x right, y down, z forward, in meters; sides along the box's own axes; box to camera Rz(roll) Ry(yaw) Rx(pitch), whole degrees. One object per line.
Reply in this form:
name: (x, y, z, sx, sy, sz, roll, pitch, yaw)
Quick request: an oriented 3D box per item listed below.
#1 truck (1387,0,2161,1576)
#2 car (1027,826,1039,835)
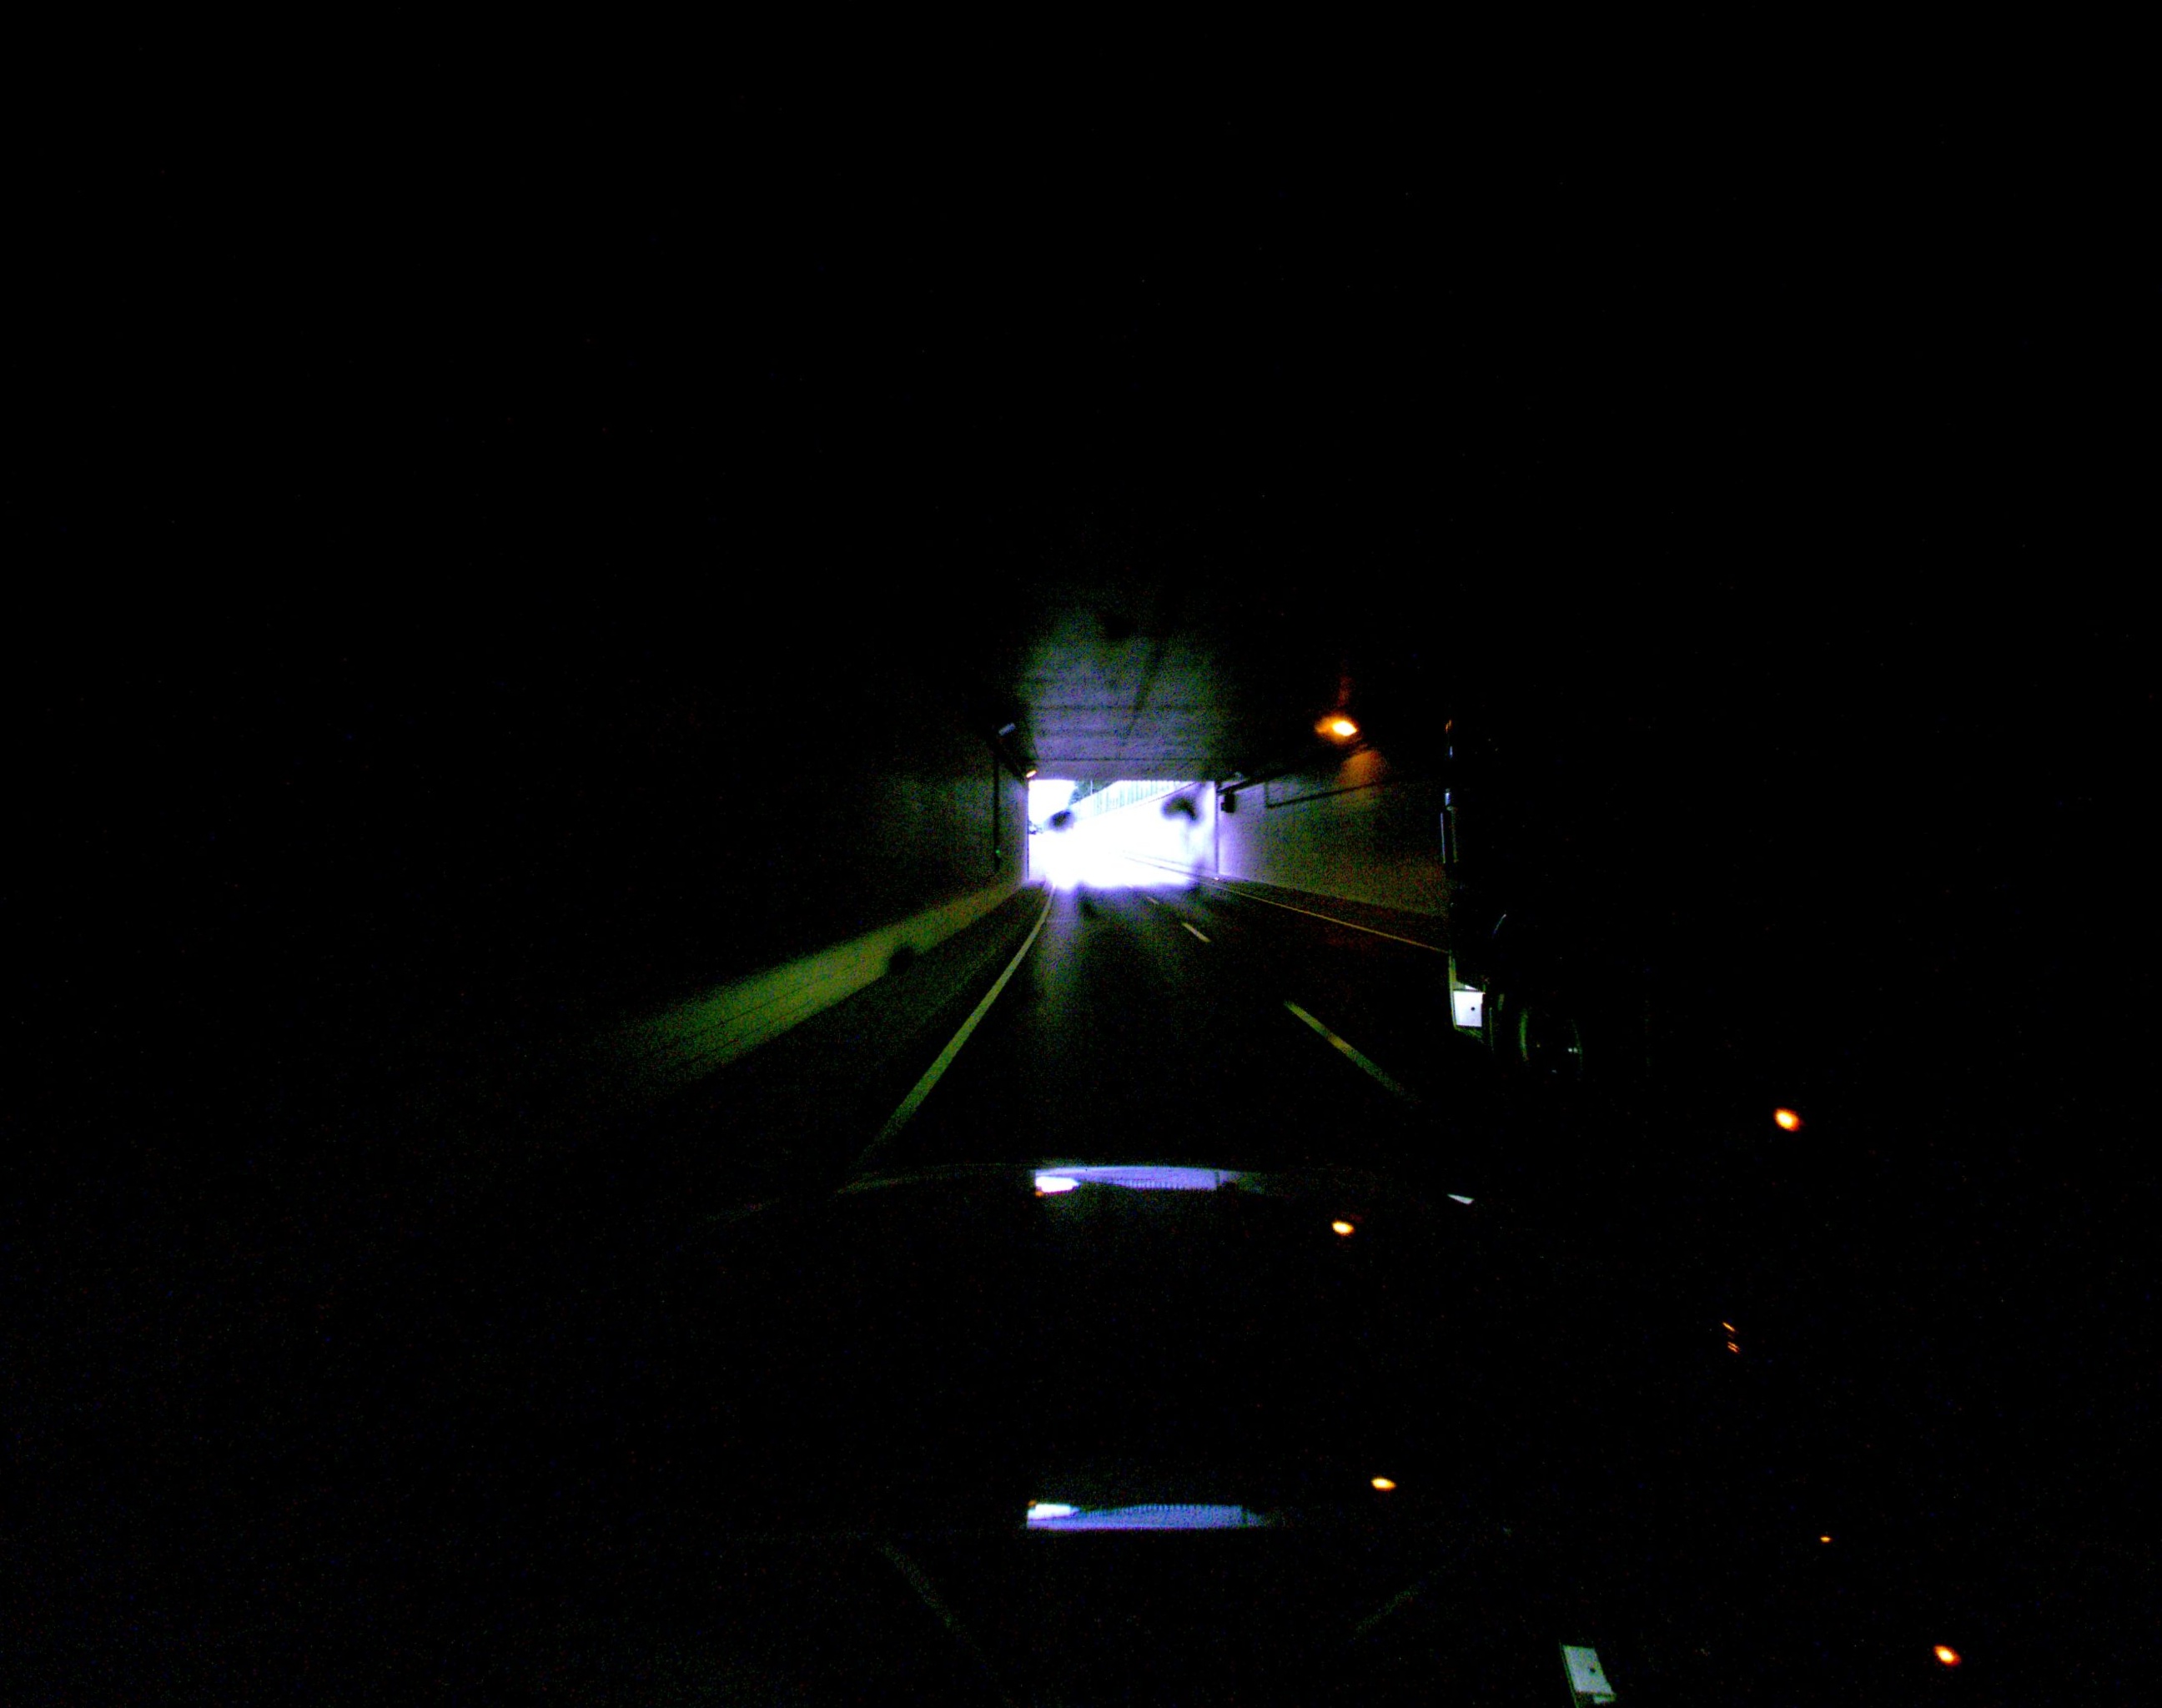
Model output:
truck: (3.541, -0.544, 0.755, 2.879, 3.913, 9.909, 0, 0, 0)
car: (-9.148, -4.450, 154.789, 1.870, 1.732, 3.985, 0, 0, -11)
